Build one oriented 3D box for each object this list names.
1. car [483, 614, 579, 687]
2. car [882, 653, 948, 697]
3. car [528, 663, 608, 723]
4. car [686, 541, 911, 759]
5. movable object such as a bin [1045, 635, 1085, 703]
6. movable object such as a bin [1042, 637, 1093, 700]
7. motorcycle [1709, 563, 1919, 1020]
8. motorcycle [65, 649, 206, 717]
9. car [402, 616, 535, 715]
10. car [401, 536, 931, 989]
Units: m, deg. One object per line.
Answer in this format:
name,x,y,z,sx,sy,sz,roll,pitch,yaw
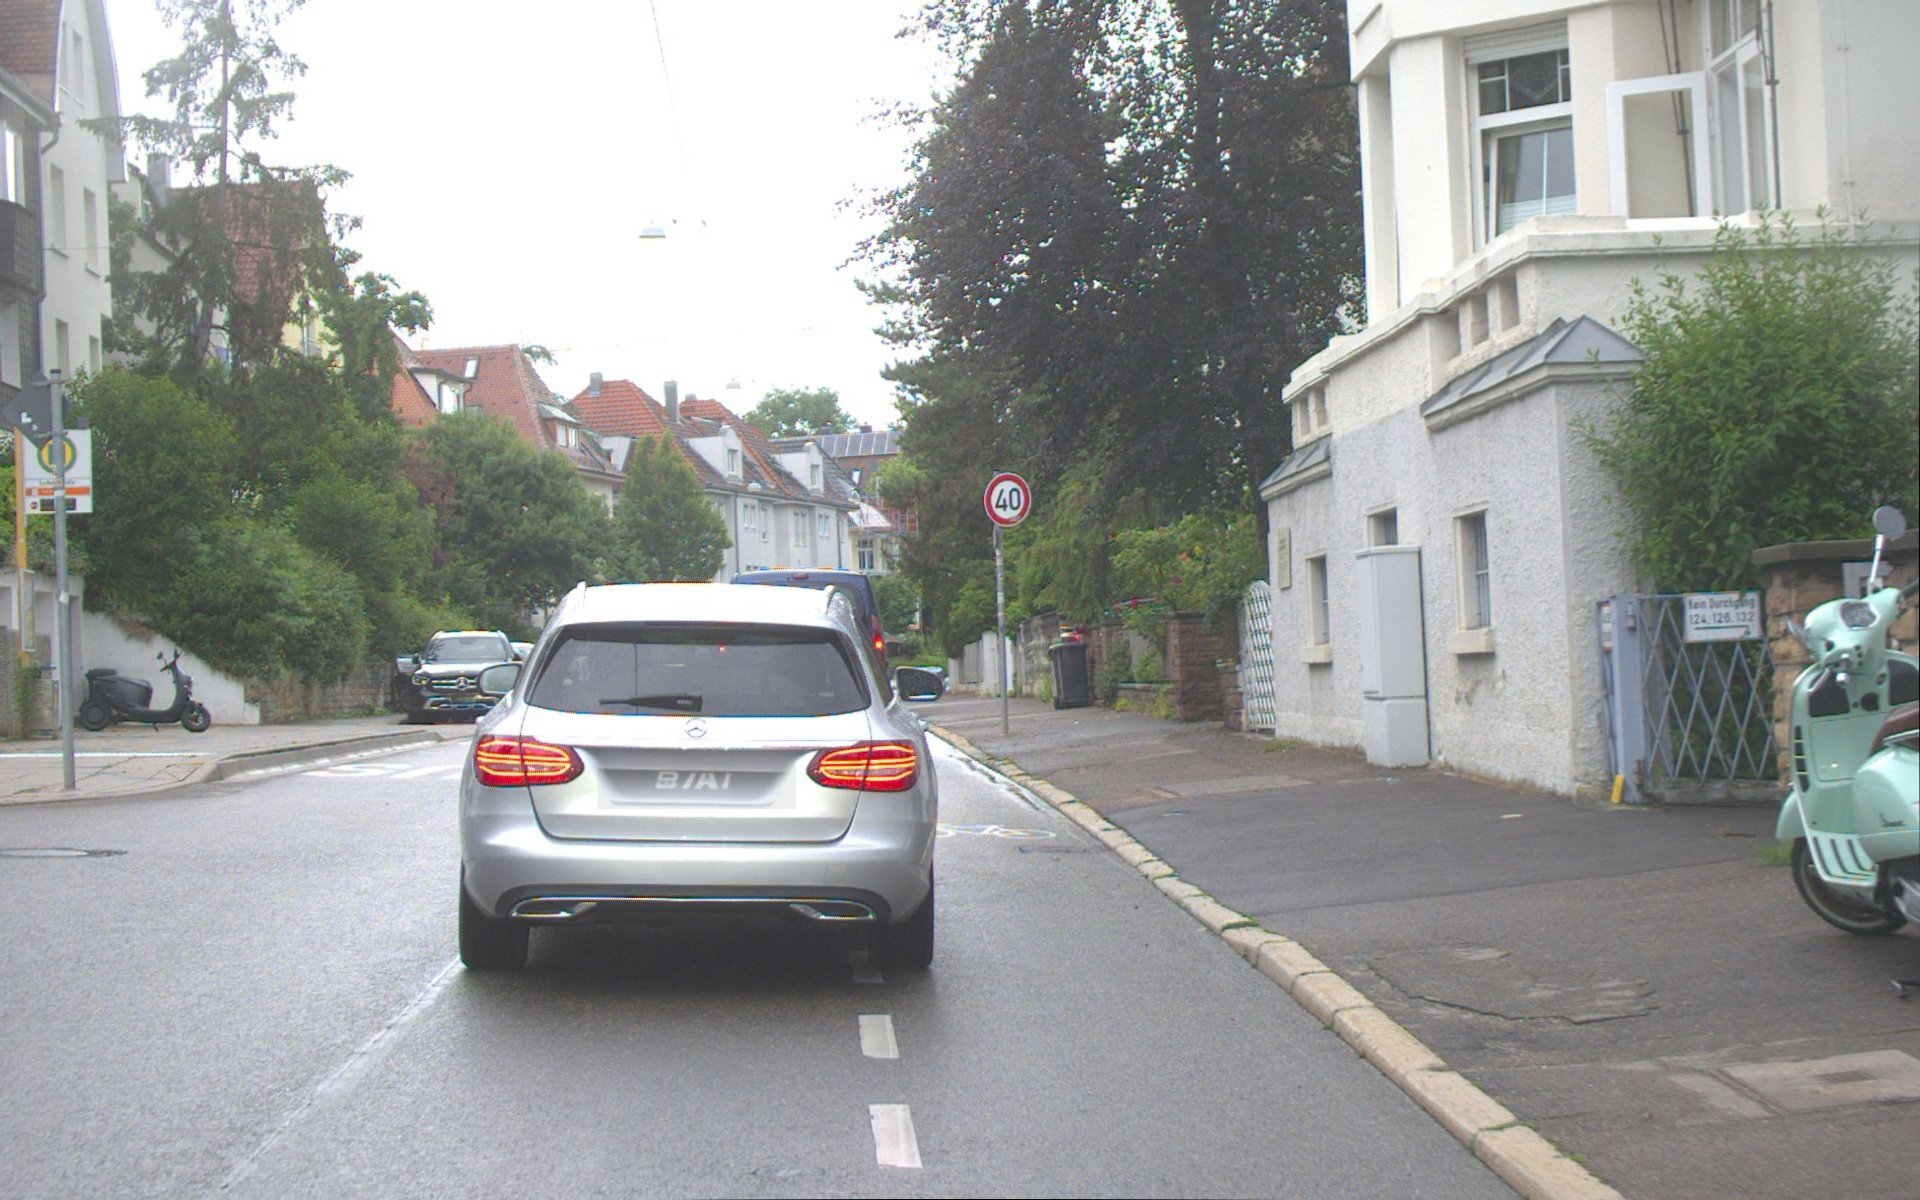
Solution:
car,-9.217,1.074,74.106,1.755,1.442,4.417,-1,1,-3
car,-2.098,3.560,162.516,1.830,2.049,5.005,-1,-2,15
car,-9.798,2.324,86.111,1.694,1.442,3.814,-1,-1,-2
car,-1.450,0.507,32.171,1.843,1.897,3.999,0,-2,1
movable object such as a bin,1.493,0.982,48.959,0.494,0.952,0.503,-1,0,-5
movable object such as a bin,1.505,0.962,48.355,0.651,0.853,0.503,-1,0,-4
motorcycle,2.996,0.534,10.859,0.693,1.222,2.153,-8,0,2
motorcycle,-11.372,1.144,47.454,1.794,0.900,0.603,1,-1,-3
car,-8.471,1.129,59.579,1.893,1.617,4.379,-1,-1,-3
car,-1.091,0.546,13.847,1.816,1.551,4.000,0,0,-2
